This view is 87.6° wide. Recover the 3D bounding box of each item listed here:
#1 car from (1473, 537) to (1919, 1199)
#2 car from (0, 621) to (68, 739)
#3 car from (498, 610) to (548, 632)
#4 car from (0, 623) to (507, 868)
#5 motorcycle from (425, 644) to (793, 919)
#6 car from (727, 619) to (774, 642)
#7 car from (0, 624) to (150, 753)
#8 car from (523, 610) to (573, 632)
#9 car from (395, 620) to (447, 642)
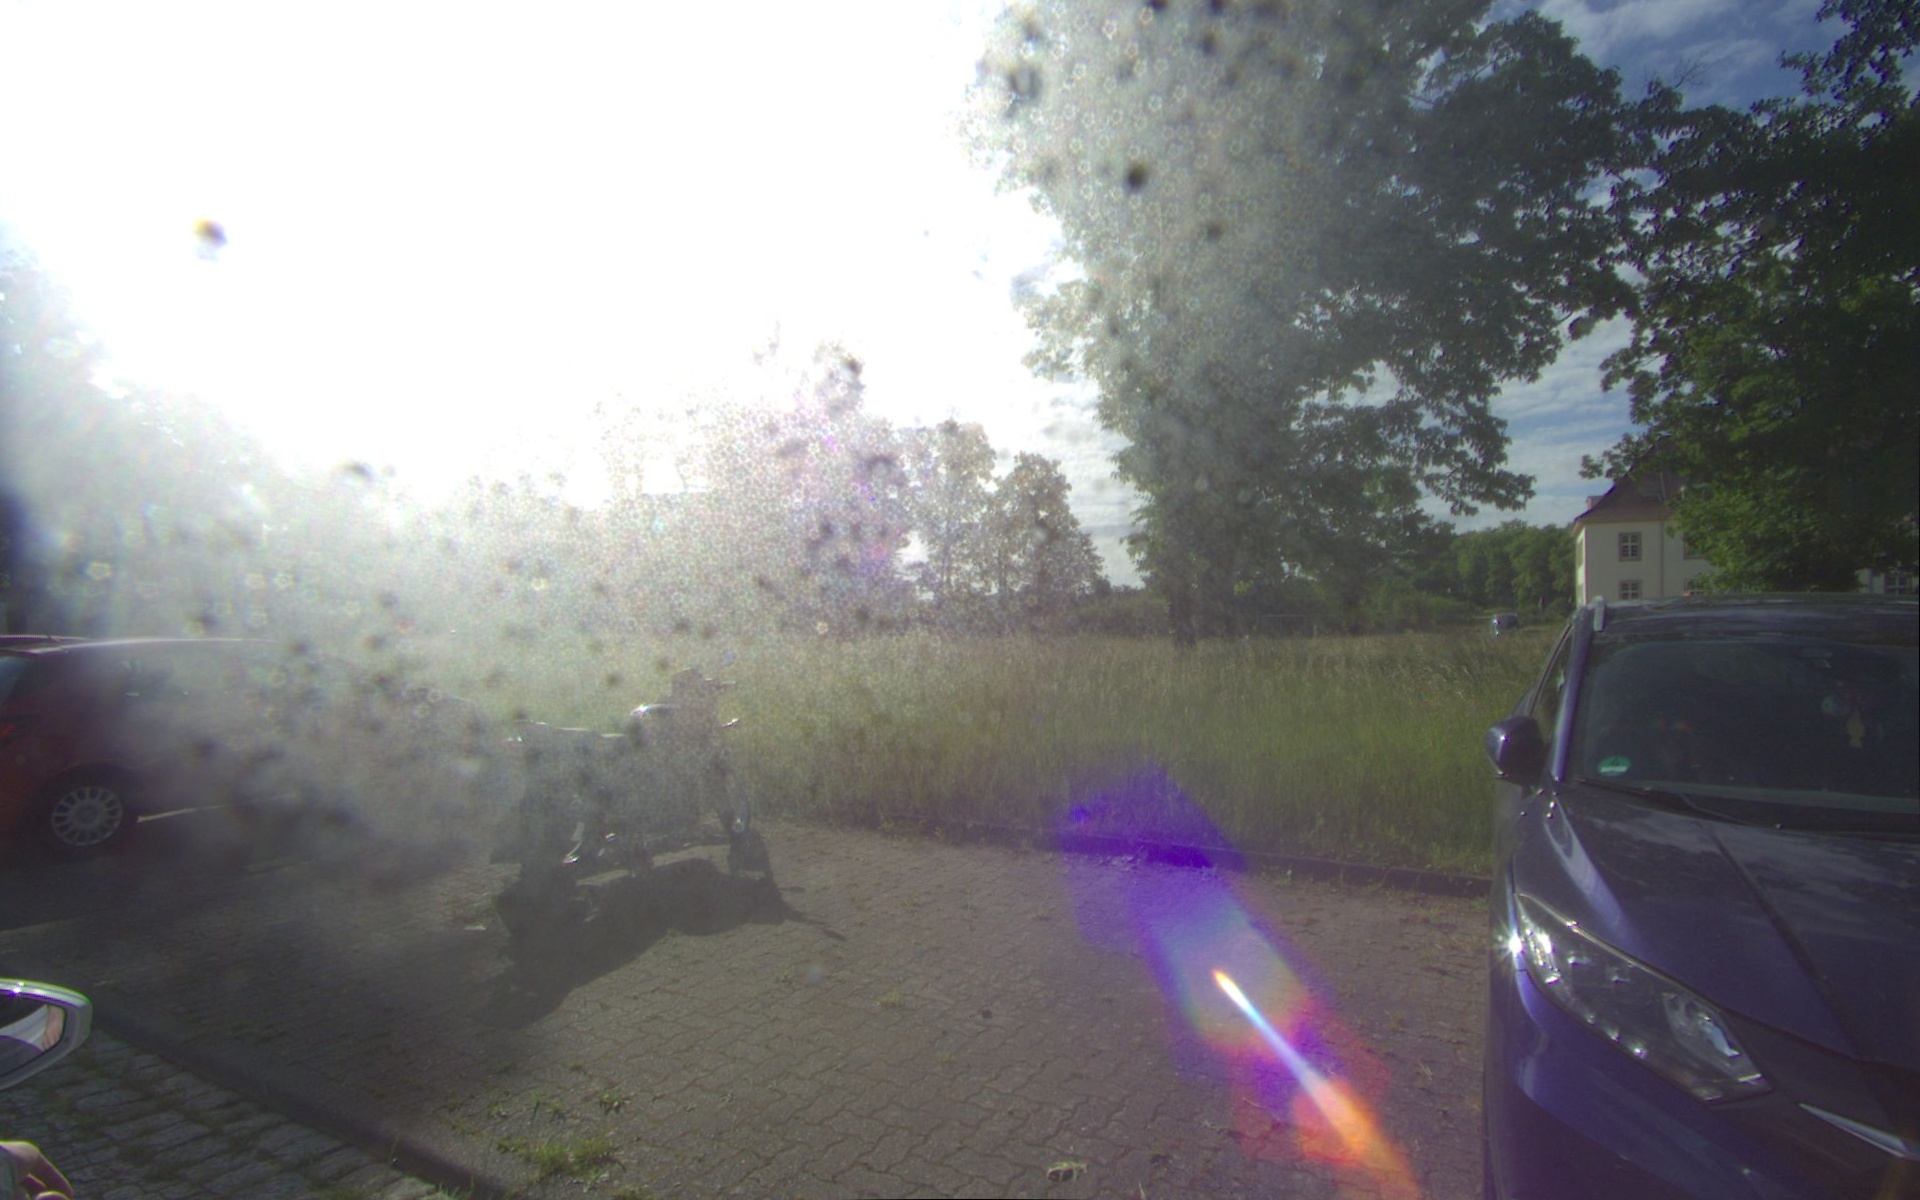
[{"bbox_3d":[2.653,0.748,3.108,1.725,1.611,4.172,-1,-1,29],"label":"car"},{"bbox_3d":[-14.753,1.112,13.349,1.745,1.642,3.933,-1,-1,29],"label":"car"},{"bbox_3d":[-41.930,2.036,96.109,1.970,2.040,3.982,-1,-1,30],"label":"car"},{"bbox_3d":[-5.977,0.977,8.319,1.620,1.498,3.823,-1,0,29],"label":"car"},{"bbox_3d":[-2.072,0.988,6.349,0.715,1.337,2.297,0,0,29],"label":"motorcycle"},{"bbox_3d":[-18.482,2.673,88.545,1.970,2.040,3.982,-1,-1,30],"label":"car"},{"bbox_3d":[-12.416,1.073,12.121,1.620,1.550,3.759,-1,-1,29],"label":"car"},{"bbox_3d":[-39.123,2.021,95.182,1.970,2.040,3.982,-1,-1,30],"label":"car"},{"bbox_3d":[-52.160,2.999,96.950,1.970,2.040,3.982,-1,-1,30],"label":"car"}]
